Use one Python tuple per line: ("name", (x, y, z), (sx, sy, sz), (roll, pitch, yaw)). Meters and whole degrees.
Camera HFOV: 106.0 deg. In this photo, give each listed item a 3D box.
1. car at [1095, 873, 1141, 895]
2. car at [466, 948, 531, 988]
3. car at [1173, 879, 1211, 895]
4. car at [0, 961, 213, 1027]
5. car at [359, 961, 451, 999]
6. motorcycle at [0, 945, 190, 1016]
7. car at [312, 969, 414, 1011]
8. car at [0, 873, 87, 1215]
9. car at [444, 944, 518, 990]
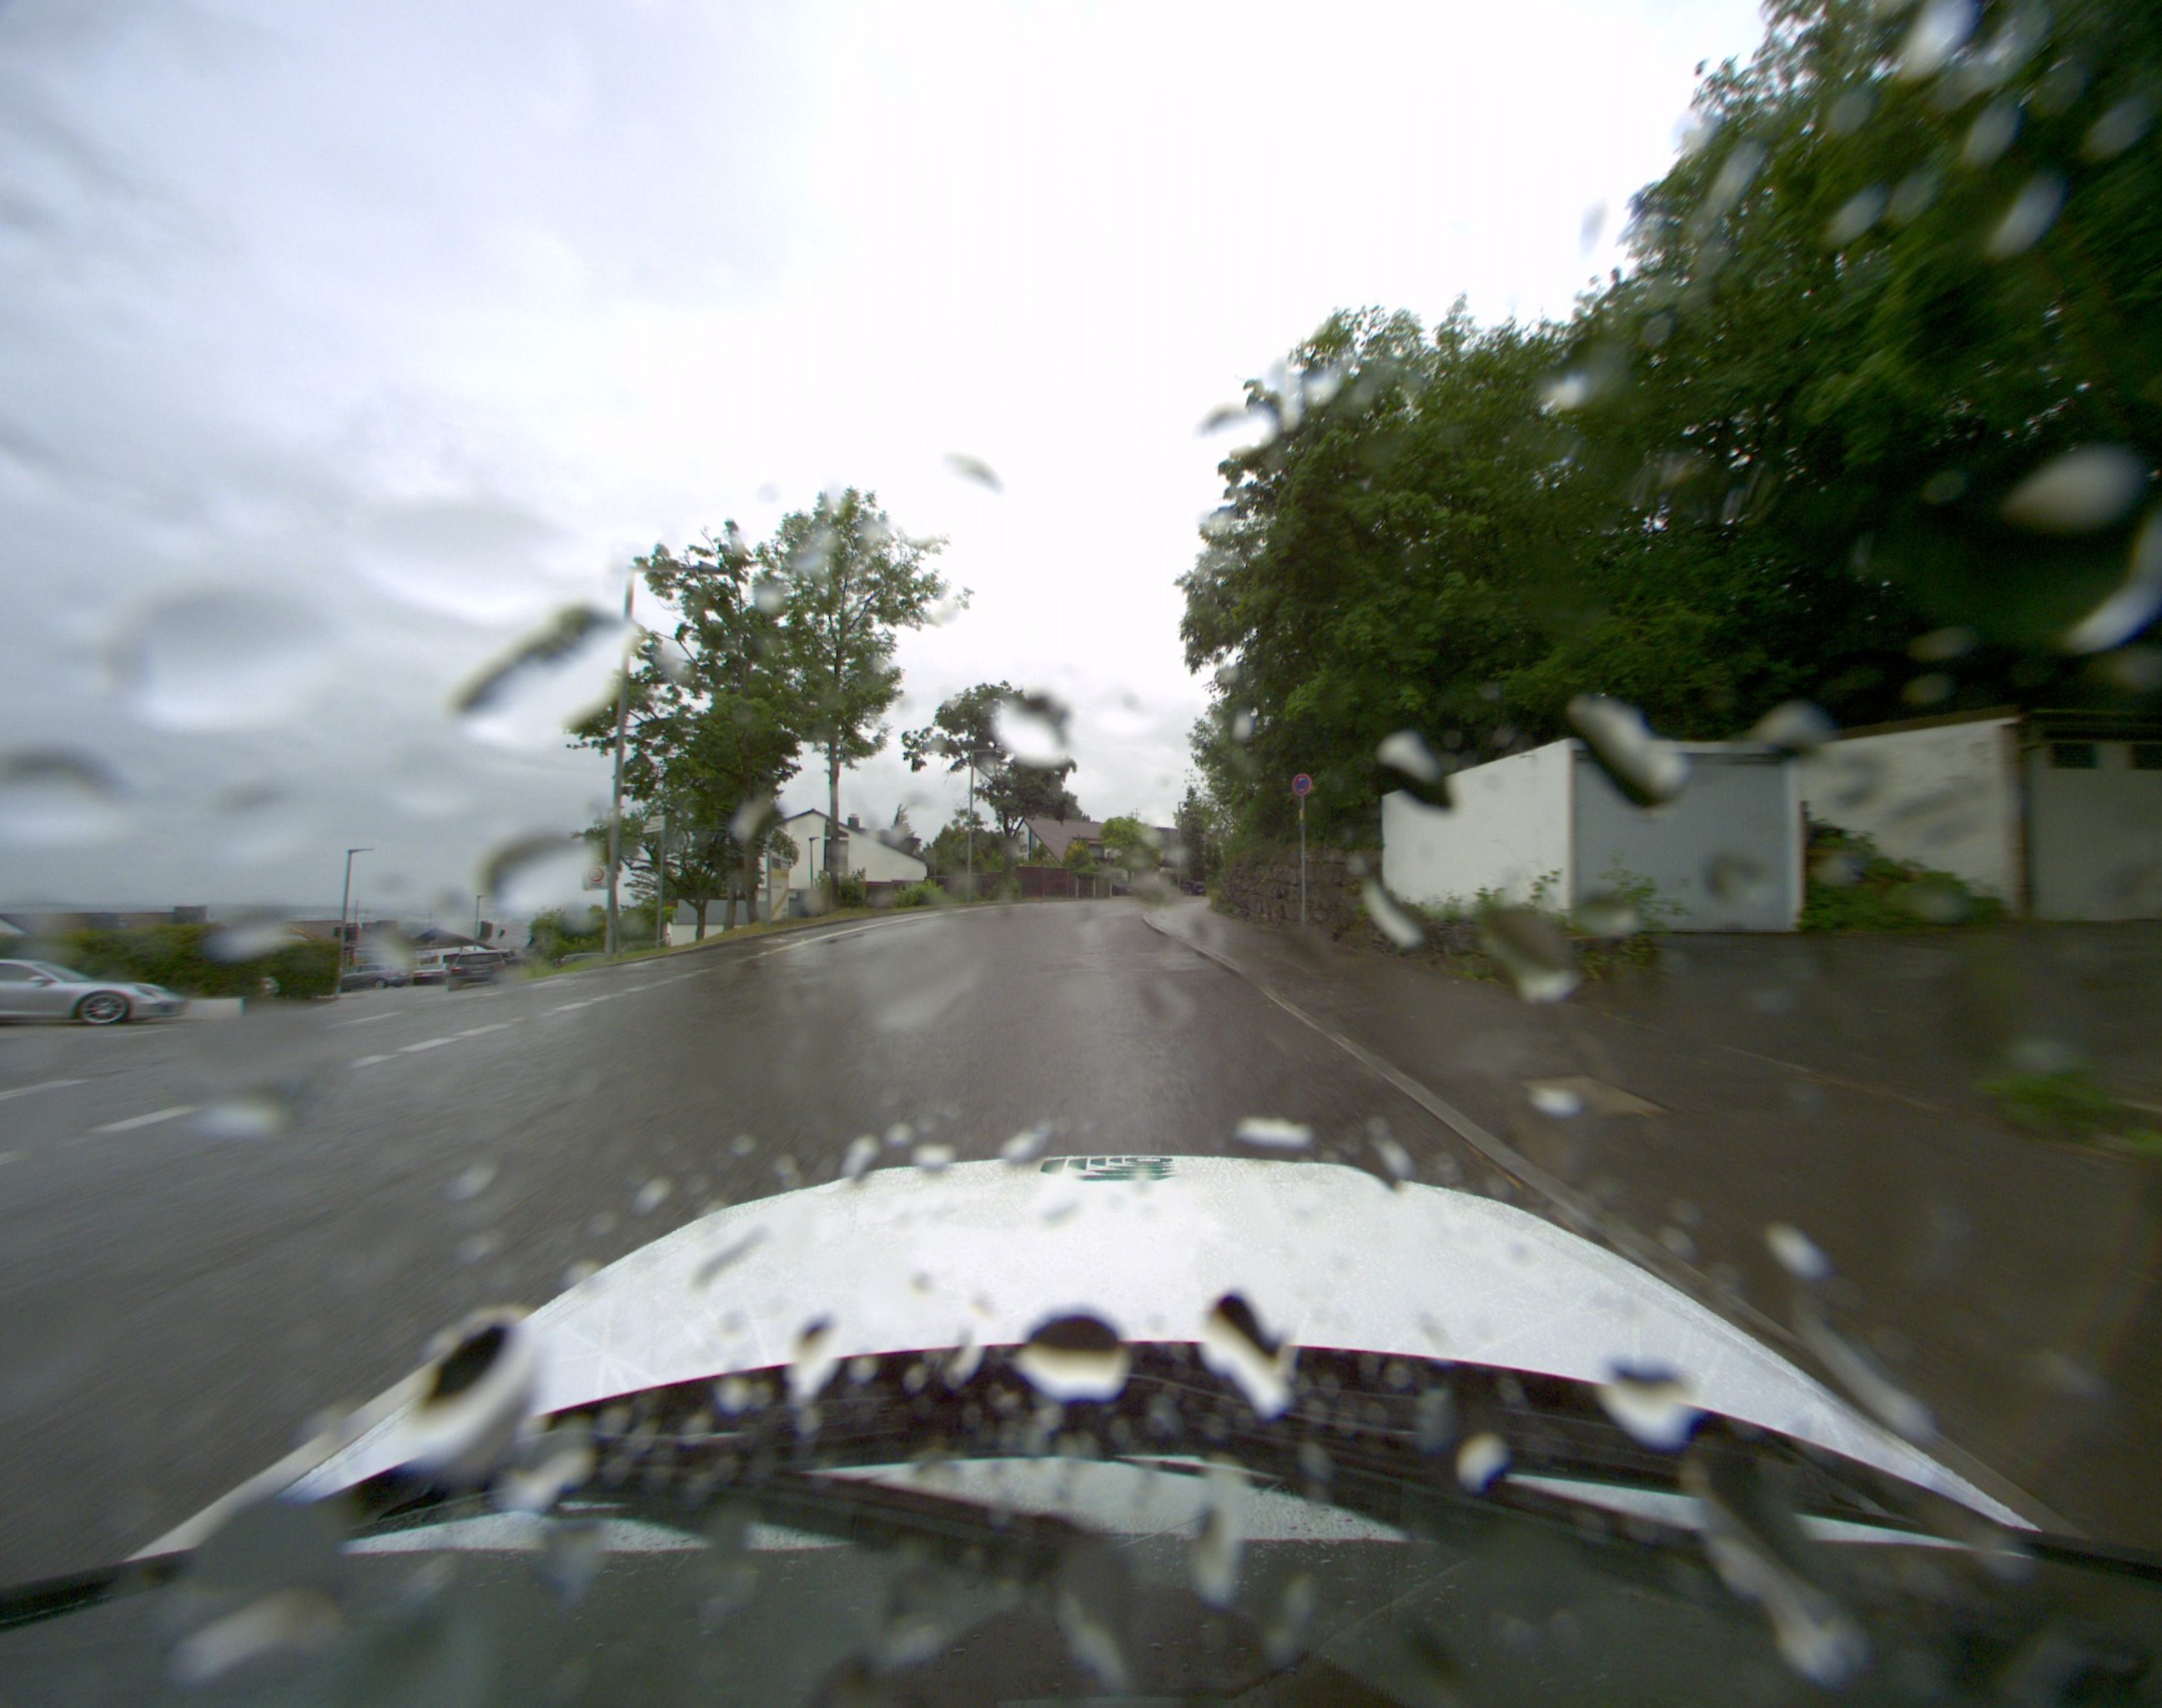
("car", (3.158, 2.565, 69.676), (2.021, 1.632, 3.960), (3, -2, -32))
("car", (-33.863, 6.574, 47.464), (2.000, 2.014, 3.973), (-3, -5, -19))
("car", (10.447, 3.105, 76.712), (1.940, 1.389, 3.975), (3, -2, -18))
("car", (-21.082, 2.847, 16.644), (4.266, 1.254, 1.765), (7, -11, -40))
("car", (-42.912, 7.986, 51.782), (3.986, 1.638, 1.798), (-7, -1, -9))
("motorcycle", (-22.588, 2.755, 17.813), (3.891, 1.266, 1.204), (11, -6, -38))
("car", (-42.105, 7.939, 47.853), (3.986, 1.638, 1.798), (-7, -1, -9))
("car", (-5.821, 0.834, 1.652), (1.825, 1.520, 4.628), (-2, -1, 2))
("car", (-22.420, 4.233, 30.572), (1.891, 1.417, 3.959), (-2, -6, -32))
